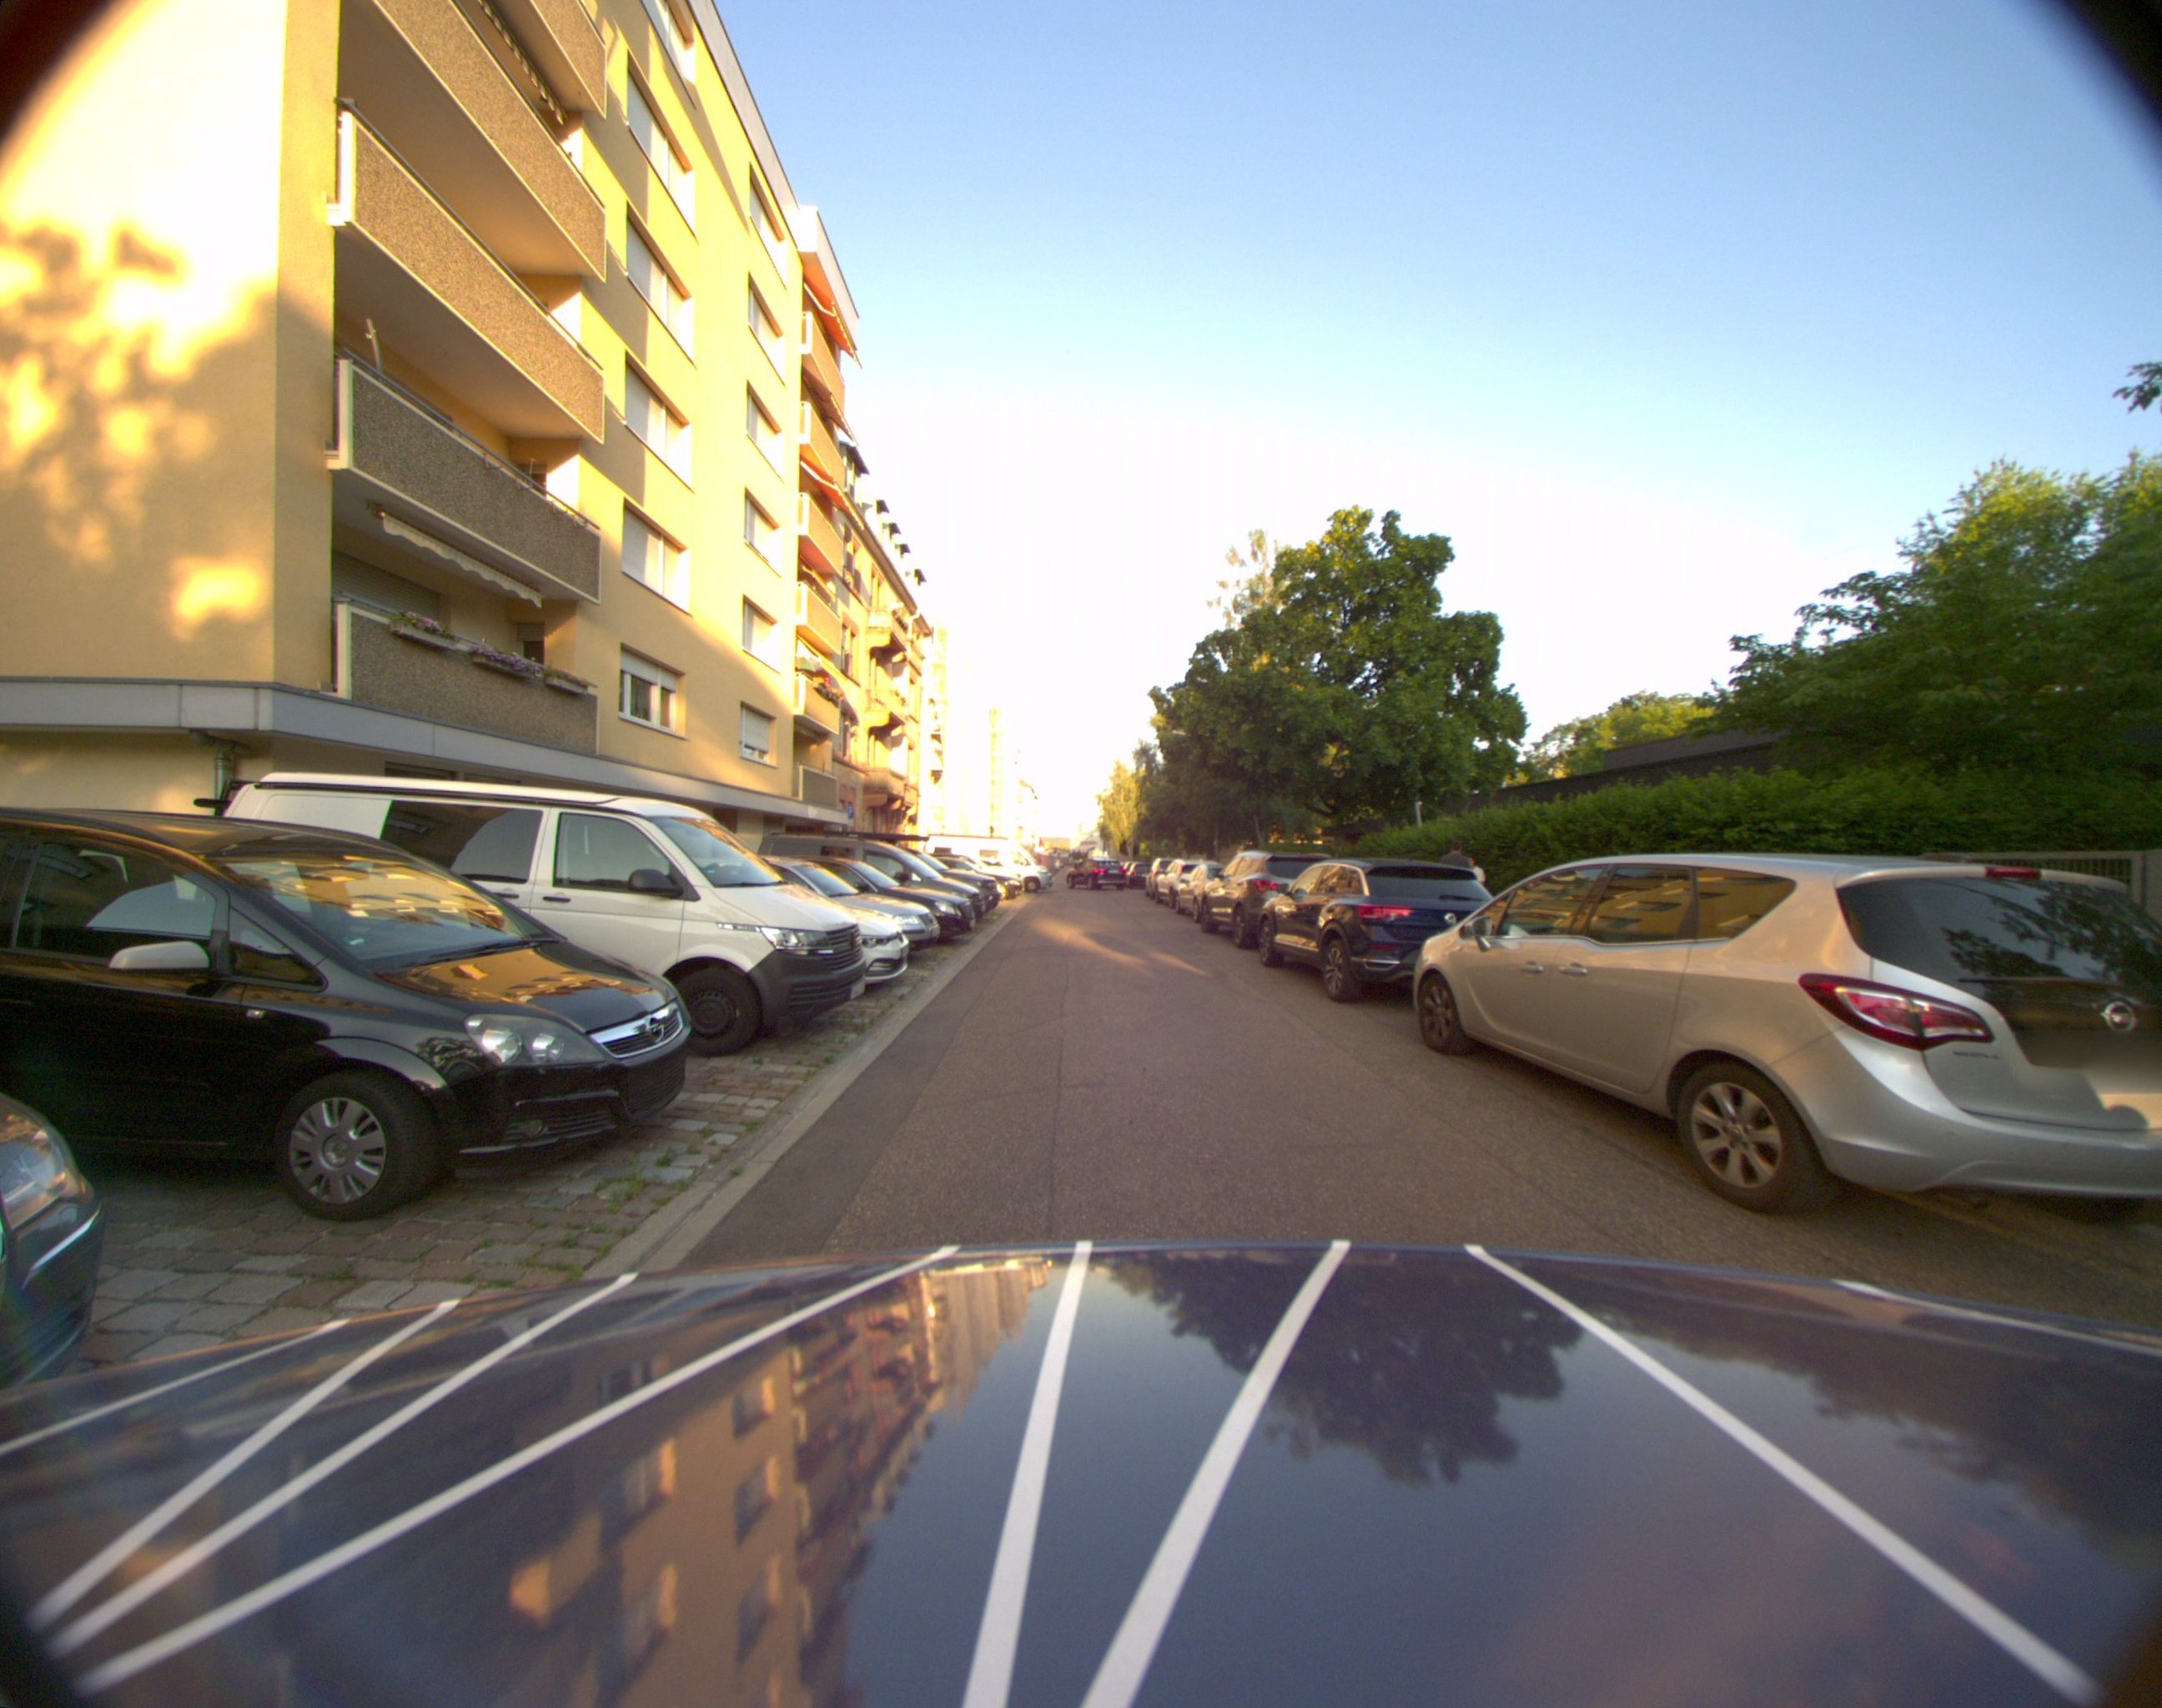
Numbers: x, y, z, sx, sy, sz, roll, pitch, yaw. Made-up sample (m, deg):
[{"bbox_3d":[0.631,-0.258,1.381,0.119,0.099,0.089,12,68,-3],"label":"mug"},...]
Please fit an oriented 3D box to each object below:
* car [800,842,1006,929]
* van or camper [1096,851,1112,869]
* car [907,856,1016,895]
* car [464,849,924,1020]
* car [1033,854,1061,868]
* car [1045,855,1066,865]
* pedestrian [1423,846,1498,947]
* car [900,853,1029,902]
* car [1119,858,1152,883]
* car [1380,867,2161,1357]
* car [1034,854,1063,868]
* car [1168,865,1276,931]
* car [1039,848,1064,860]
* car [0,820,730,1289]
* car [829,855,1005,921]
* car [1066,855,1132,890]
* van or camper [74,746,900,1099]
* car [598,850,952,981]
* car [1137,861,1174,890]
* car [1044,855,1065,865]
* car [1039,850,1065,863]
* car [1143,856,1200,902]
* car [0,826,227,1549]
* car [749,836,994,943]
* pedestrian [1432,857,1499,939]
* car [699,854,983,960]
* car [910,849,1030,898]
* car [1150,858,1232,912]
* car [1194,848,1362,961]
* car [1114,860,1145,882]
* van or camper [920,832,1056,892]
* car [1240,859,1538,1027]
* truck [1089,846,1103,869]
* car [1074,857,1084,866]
[{"bbox_3d":[-4.199,0.725,18.447,4.524,1.852,1.845,2,0,-1],"label":"car"},{"bbox_3d":[3.095,0.791,101.946,1.825,2.400,4.291,2,0,-1],"label":"van or camper"},{"bbox_3d":[-5.100,0.905,32.921,4.414,1.610,1.845,0,2,1],"label":"car"},{"bbox_3d":[-4.246,0.841,8.887,4.415,1.622,1.845,2,2,-1],"label":"car"},{"bbox_3d":[-4.916,0.958,109.983,3.997,2.002,2.000,0,0,-1],"label":"car"},{"bbox_3d":[-5.125,1.218,153.338,3.997,2.002,2.000,0,0,-1],"label":"car"},{"bbox_3d":[6.774,0.738,13.599,0.901,1.722,0.750,-2,0,-2],"label":"pedestrian"},{"bbox_3d":[-4.189,0.834,27.824,4.414,1.545,1.845,2,2,0],"label":"car"},{"bbox_3d":[3.371,1.020,47.507,1.738,1.438,3.805,2,0,0],"label":"car"},{"bbox_3d":[3.612,0.913,4.610,1.738,1.558,4.128,2,0,-3],"label":"car"},{"bbox_3d":[-4.535,0.960,107.439,3.997,2.002,2.000,0,0,-1],"label":"car"},{"bbox_3d":[3.524,1.053,19.761,1.738,1.418,4.286,2,0,-3],"label":"car"},{"bbox_3d":[-4.666,-0.019,121.640,3.997,2.002,2.000,0,0,-1],"label":"car"},{"bbox_3d":[-4.366,0.766,3.790,4.338,1.652,1.780,3,2,-3],"label":"car"},{"bbox_3d":[-4.462,0.895,21.118,4.414,1.545,1.845,2,2,2],"label":"car"},{"bbox_3d":[0.856,0.915,38.682,1.741,1.621,4.117,2,0,-24],"label":"car"},{"bbox_3d":[-4.391,0.503,6.387,5.147,2.155,2.039,4,1,-2],"label":"van or camper"},{"bbox_3d":[-4.272,0.832,11.149,4.415,1.584,1.845,2,2,-1],"label":"car"},{"bbox_3d":[3.983,1.128,41.155,1.624,1.417,3.415,2,0,0],"label":"car"},{"bbox_3d":[-5.280,1.222,150.910,3.997,2.002,2.000,0,0,-1],"label":"car"},{"bbox_3d":[-4.547,0.350,118.488,3.997,2.002,2.000,0,0,-1],"label":"car"},{"bbox_3d":[3.502,0.935,30.017,1.738,1.621,3.980,2,0,0],"label":"car"},{"bbox_3d":[-4.654,0.685,1.178,4.416,1.652,1.844,3,2,-3],"label":"car"},{"bbox_3d":[-4.310,0.694,16.130,4.649,1.970,1.845,2,2,-1],"label":"car"},{"bbox_3d":[7.358,0.818,14.570,0.750,1.499,0.901,-2,0,-2],"label":"pedestrian"},{"bbox_3d":[-4.081,0.884,13.470,4.415,1.554,1.845,2,2,-1],"label":"car"},{"bbox_3d":[-4.385,0.759,30.393,4.413,1.738,1.846,2,0,3],"label":"car"},{"bbox_3d":[3.459,0.941,24.617,1.764,1.534,4.279,2,0,-3],"label":"car"},{"bbox_3d":[3.418,0.810,14.105,1.738,1.720,4.322,2,0,-3],"label":"car"},{"bbox_3d":[3.352,1.155,53.158,1.738,1.417,3.804,2,0,-1],"label":"car"},{"bbox_3d":[-4.288,0.376,35.780,6.075,2.489,2.050,2,0,0],"label":"van or camper"},{"bbox_3d":[3.392,0.870,9.349,1.738,1.558,4.166,2,0,-3],"label":"car"},{"bbox_3d":[2.483,0.552,129.090,2.183,3.860,4.926,0,0,0],"label":"truck"},{"bbox_3d":[-0.383,1.279,136.647,1.738,1.502,4.291,2,0,-1],"label":"car"}]
